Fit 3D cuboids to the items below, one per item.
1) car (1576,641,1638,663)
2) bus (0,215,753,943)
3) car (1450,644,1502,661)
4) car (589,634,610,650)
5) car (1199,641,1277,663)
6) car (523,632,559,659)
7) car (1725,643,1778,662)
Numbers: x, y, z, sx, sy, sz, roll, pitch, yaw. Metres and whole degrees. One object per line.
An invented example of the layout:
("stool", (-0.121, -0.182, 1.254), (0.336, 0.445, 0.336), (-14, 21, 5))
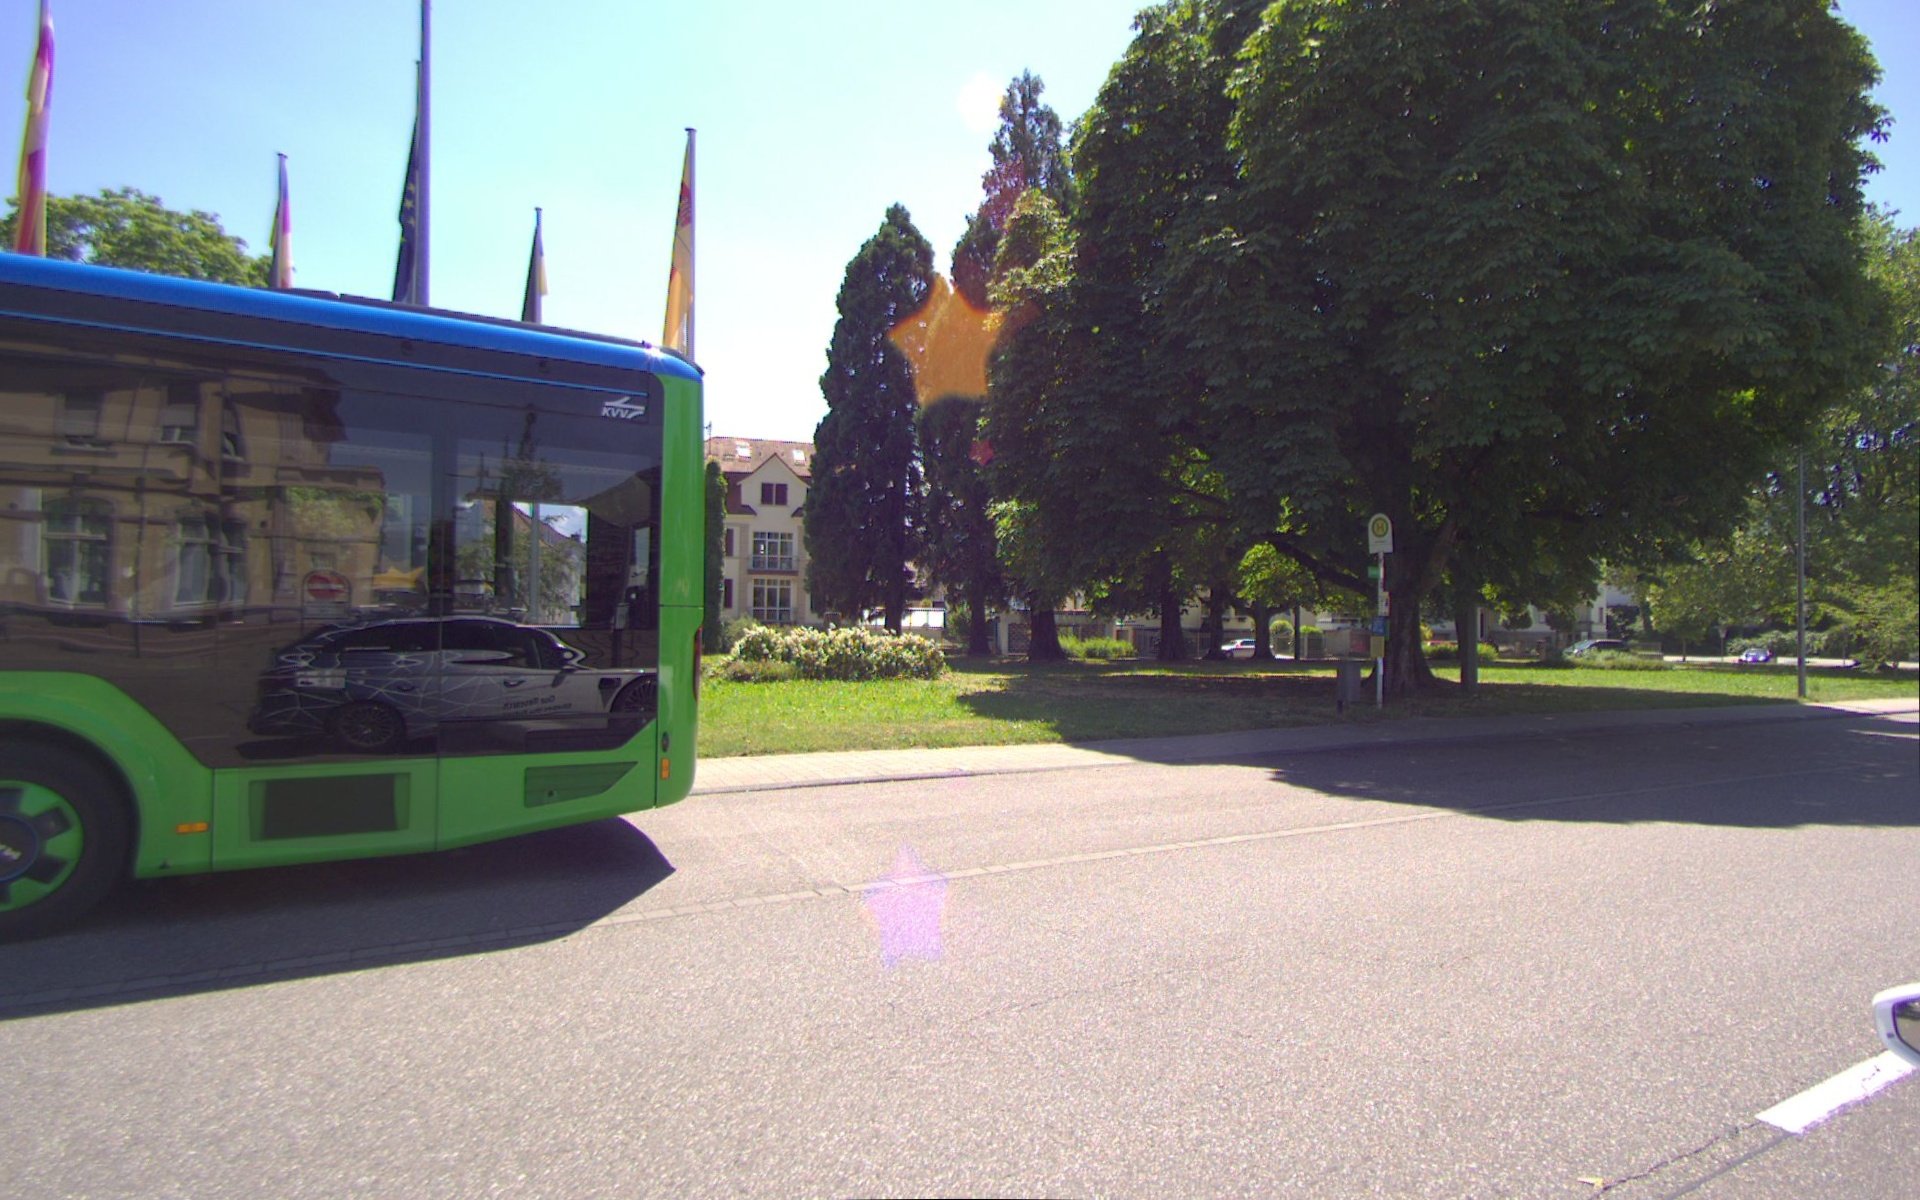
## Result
("car", (45.070, 3.614, 69.990), (3.739, 1.429, 1.551), (1, -2, -15))
("bus", (-7.317, -0.139, 4.492), (12.279, 3.326, 2.795), (2, -1, -30))
("car", (41.787, 4.238, 81.360), (1.686, 1.268, 3.722), (1, -2, -16))
("car", (-38.308, 4.452, 106.653), (1.971, 1.603, 3.980), (3, -4, -22))
("car", (19.095, 3.583, 69.039), (4.801, 1.367, 1.989), (1, -1, -13))
("car", (-26.718, 2.932, 64.114), (1.971, 1.603, 3.980), (3, -4, -22))
("car", (58.292, 3.882, 73.927), (3.943, 1.328, 1.807), (2, -2, -31))
